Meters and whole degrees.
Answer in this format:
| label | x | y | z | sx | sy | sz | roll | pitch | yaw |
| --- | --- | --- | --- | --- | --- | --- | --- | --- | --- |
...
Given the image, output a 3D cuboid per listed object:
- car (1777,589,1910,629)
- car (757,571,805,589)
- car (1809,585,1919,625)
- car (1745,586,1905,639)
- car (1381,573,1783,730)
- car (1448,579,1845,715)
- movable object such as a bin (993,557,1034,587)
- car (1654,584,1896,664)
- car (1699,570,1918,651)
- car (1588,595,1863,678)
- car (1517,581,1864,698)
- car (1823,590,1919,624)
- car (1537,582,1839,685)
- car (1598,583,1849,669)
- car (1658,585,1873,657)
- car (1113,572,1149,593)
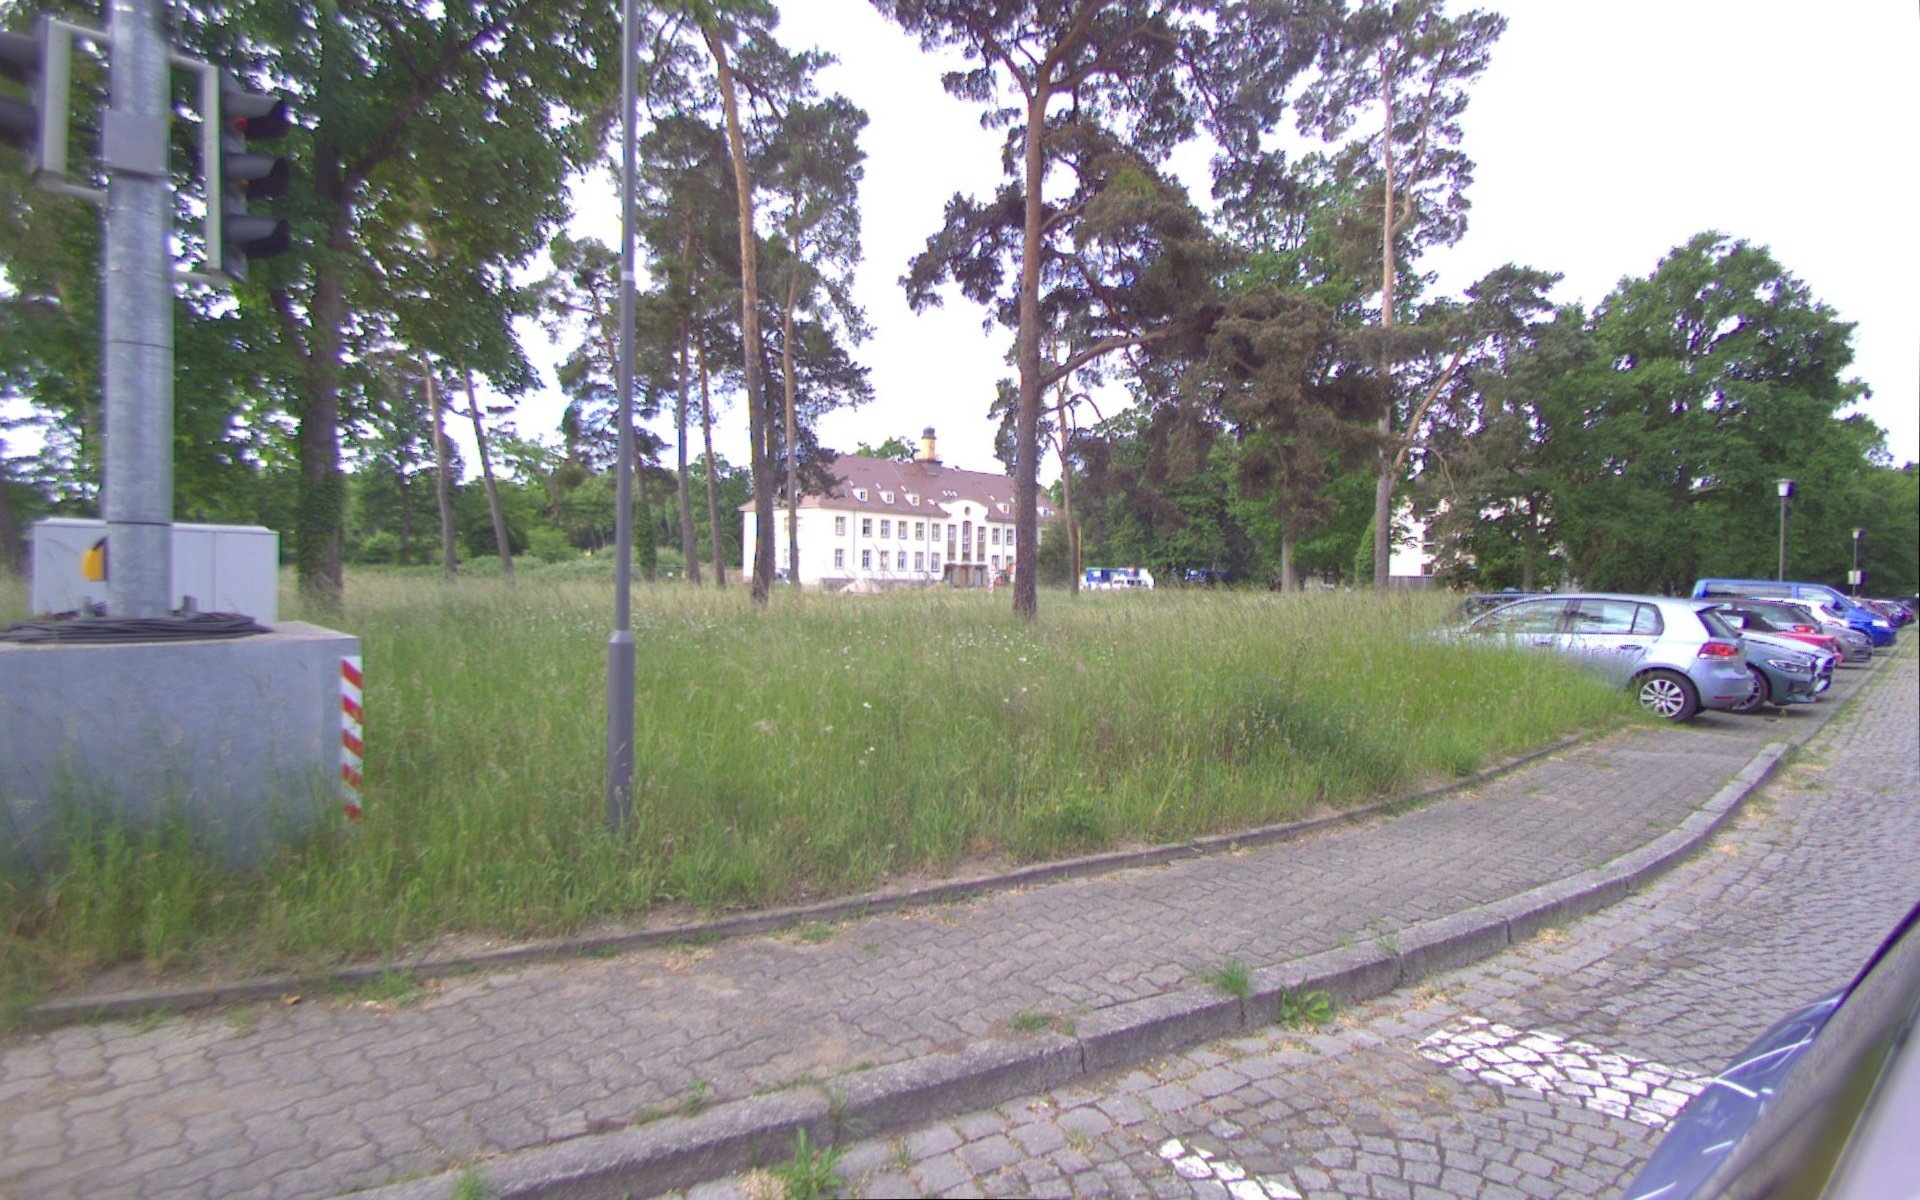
| label | x | y | z | sx | sy | sz | roll | pitch | yaw |
| --- | --- | --- | --- | --- | --- | --- | --- | --- | --- |
| car | 37.448 | 0.359 | 42.970 | 1.697 | 1.462 | 4.080 | 0 | 3 | -42 |
| car | -20.021 | -2.259 | 112.910 | 5.773 | 1.985 | 2.162 | 1 | 1 | 42 |
| car | 44.812 | 0.214 | 49.998 | 1.694 | 1.715 | 4.087 | 1 | 2 | -37 |
| car | 30.402 | 0.393 | 35.659 | 1.626 | 1.612 | 4.081 | 0 | 3 | -41 |
| car | 7.689 | 0.507 | 12.780 | 4.004 | 1.446 | 1.671 | 6 | 4 | 44 |
| car | 9.630 | 0.538 | 14.490 | 4.432 | 1.400 | 1.637 | 6 | 4 | 45 |
| movable object such as a bin | 6.880 | -3.620 | 130.712 | 2.017 | 3.817 | 5.456 | -1 | 1 | -40 |
| car | 18.695 | 0.486 | 23.371 | 1.671 | 1.535 | 4.095 | 0 | 3 | -41 |
| car | 24.407 | 0.225 | 29.265 | 1.879 | 2.030 | 4.598 | -1 | 3 | -42 |
| car | 14.751 | 0.630 | 19.677 | 1.524 | 1.255 | 4.045 | 0 | 3 | -43 |
| car | 11.611 | 0.517 | 16.325 | 1.688 | 1.491 | 4.245 | 0 | 3 | -42 |
| car | 48.206 | 0.333 | 53.122 | 1.694 | 1.552 | 4.097 | 1 | 2 | -37 |
| car | 13.053 | 0.509 | 18.342 | 1.688 | 1.500 | 4.178 | 0 | 3 | -43 |
| car | 16.335 | 0.480 | 21.817 | 1.573 | 1.535 | 4.048 | 0 | 3 | -41 |
| car | 20.391 | 0.460 | 25.755 | 1.573 | 1.535 | 4.048 | 0 | 3 | -41 |
| car | 19.355 | -1.969 | 114.583 | 4.375 | 2.394 | 1.858 | -1 | 1 | -45 |
